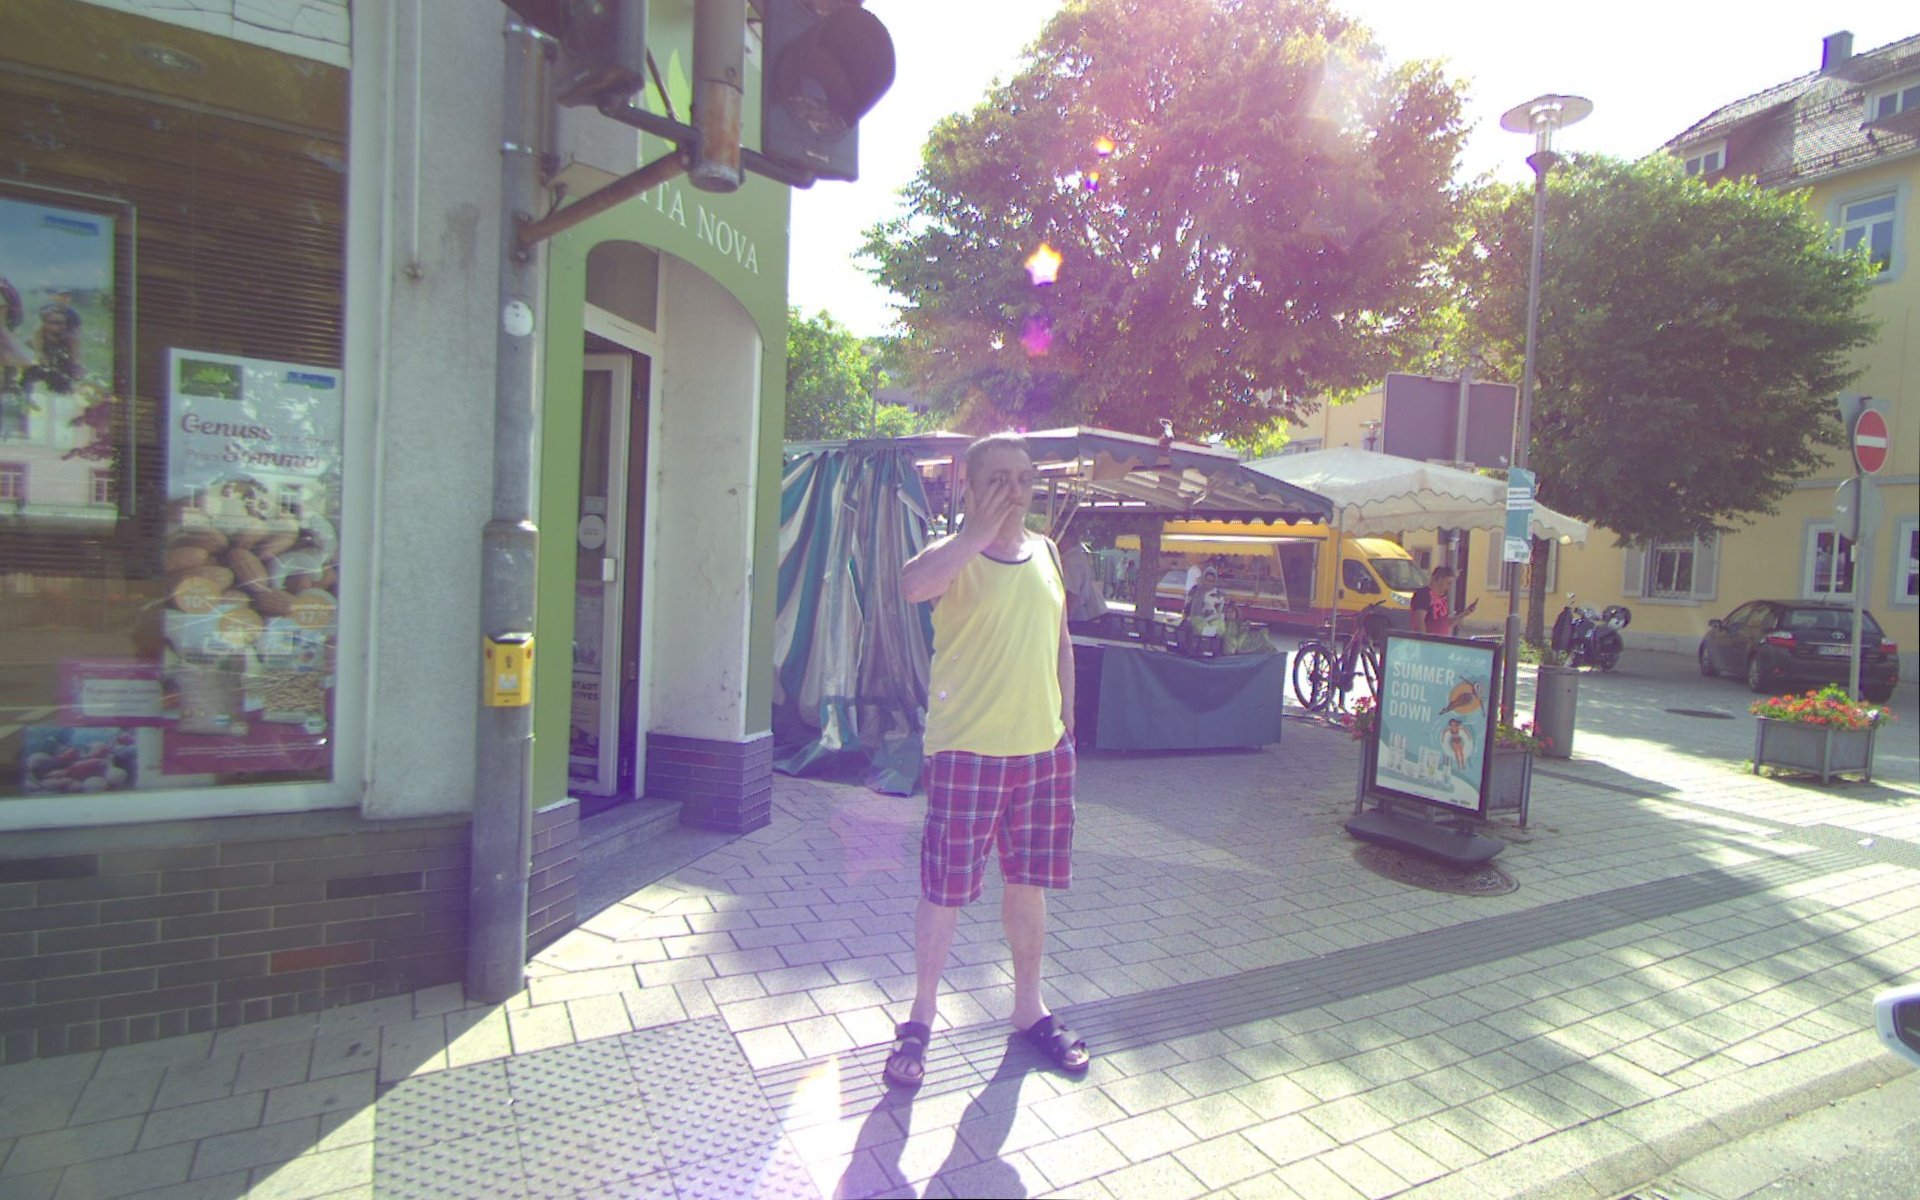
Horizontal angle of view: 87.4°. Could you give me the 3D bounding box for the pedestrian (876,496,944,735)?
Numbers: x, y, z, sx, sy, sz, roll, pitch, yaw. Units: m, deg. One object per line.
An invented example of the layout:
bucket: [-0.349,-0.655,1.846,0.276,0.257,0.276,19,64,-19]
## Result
pedestrian: [-0.436,0.130,8.830,0.498,1.997,0.707,2,1,-2]

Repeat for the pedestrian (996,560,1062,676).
pedestrian: [0.942,0.242,13.734,0.614,1.538,0.629,2,1,-25]

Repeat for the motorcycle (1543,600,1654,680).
motorcycle: [11.903,0.709,18.717,2.063,1.379,0.881,-1,3,-31]

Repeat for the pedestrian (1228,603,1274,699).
pedestrian: [3.754,0.637,12.946,0.506,1.176,0.622,3,1,18]

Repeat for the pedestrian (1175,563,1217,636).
pedestrian: [6.045,-0.024,25.736,0.675,1.811,0.719,-1,4,-37]

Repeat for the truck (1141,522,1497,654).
truck: [8.653,-0.471,25.811,2.974,2.795,8.793,1,3,-28]

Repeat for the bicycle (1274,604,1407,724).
bicycle: [4.402,0.701,11.547,1.848,1.251,0.610,1,2,-42]

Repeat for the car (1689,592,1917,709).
car: [14.169,0.739,17.182,1.887,1.564,3.955,4,3,24]

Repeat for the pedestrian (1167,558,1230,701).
pedestrian: [3.073,0.367,12.922,0.693,1.747,0.788,3,1,15]

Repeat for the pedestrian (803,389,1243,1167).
pedestrian: [0.074,0.420,2.907,0.892,1.839,1.018,4,5,-12]

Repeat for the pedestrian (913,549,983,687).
pedestrian: [-0.152,0.213,12.485,0.516,1.648,0.701,2,1,-33]

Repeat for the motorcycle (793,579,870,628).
motorcycle: [-3.618,0.106,28.296,1.965,1.211,0.644,5,0,13]

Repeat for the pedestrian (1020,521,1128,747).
pedestrian: [1.067,0.301,9.392,0.643,2.011,0.704,3,1,40]

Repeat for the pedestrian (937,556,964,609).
pedestrian: [-0.304,-0.574,32.838,0.574,1.704,0.678,2,3,40]

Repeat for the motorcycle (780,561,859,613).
motorcycle: [-3.811,-0.352,27.168,1.973,1.211,0.641,5,0,-16]

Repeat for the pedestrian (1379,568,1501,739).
pedestrian: [4.980,0.544,10.439,0.870,1.680,0.569,4,1,-19]
